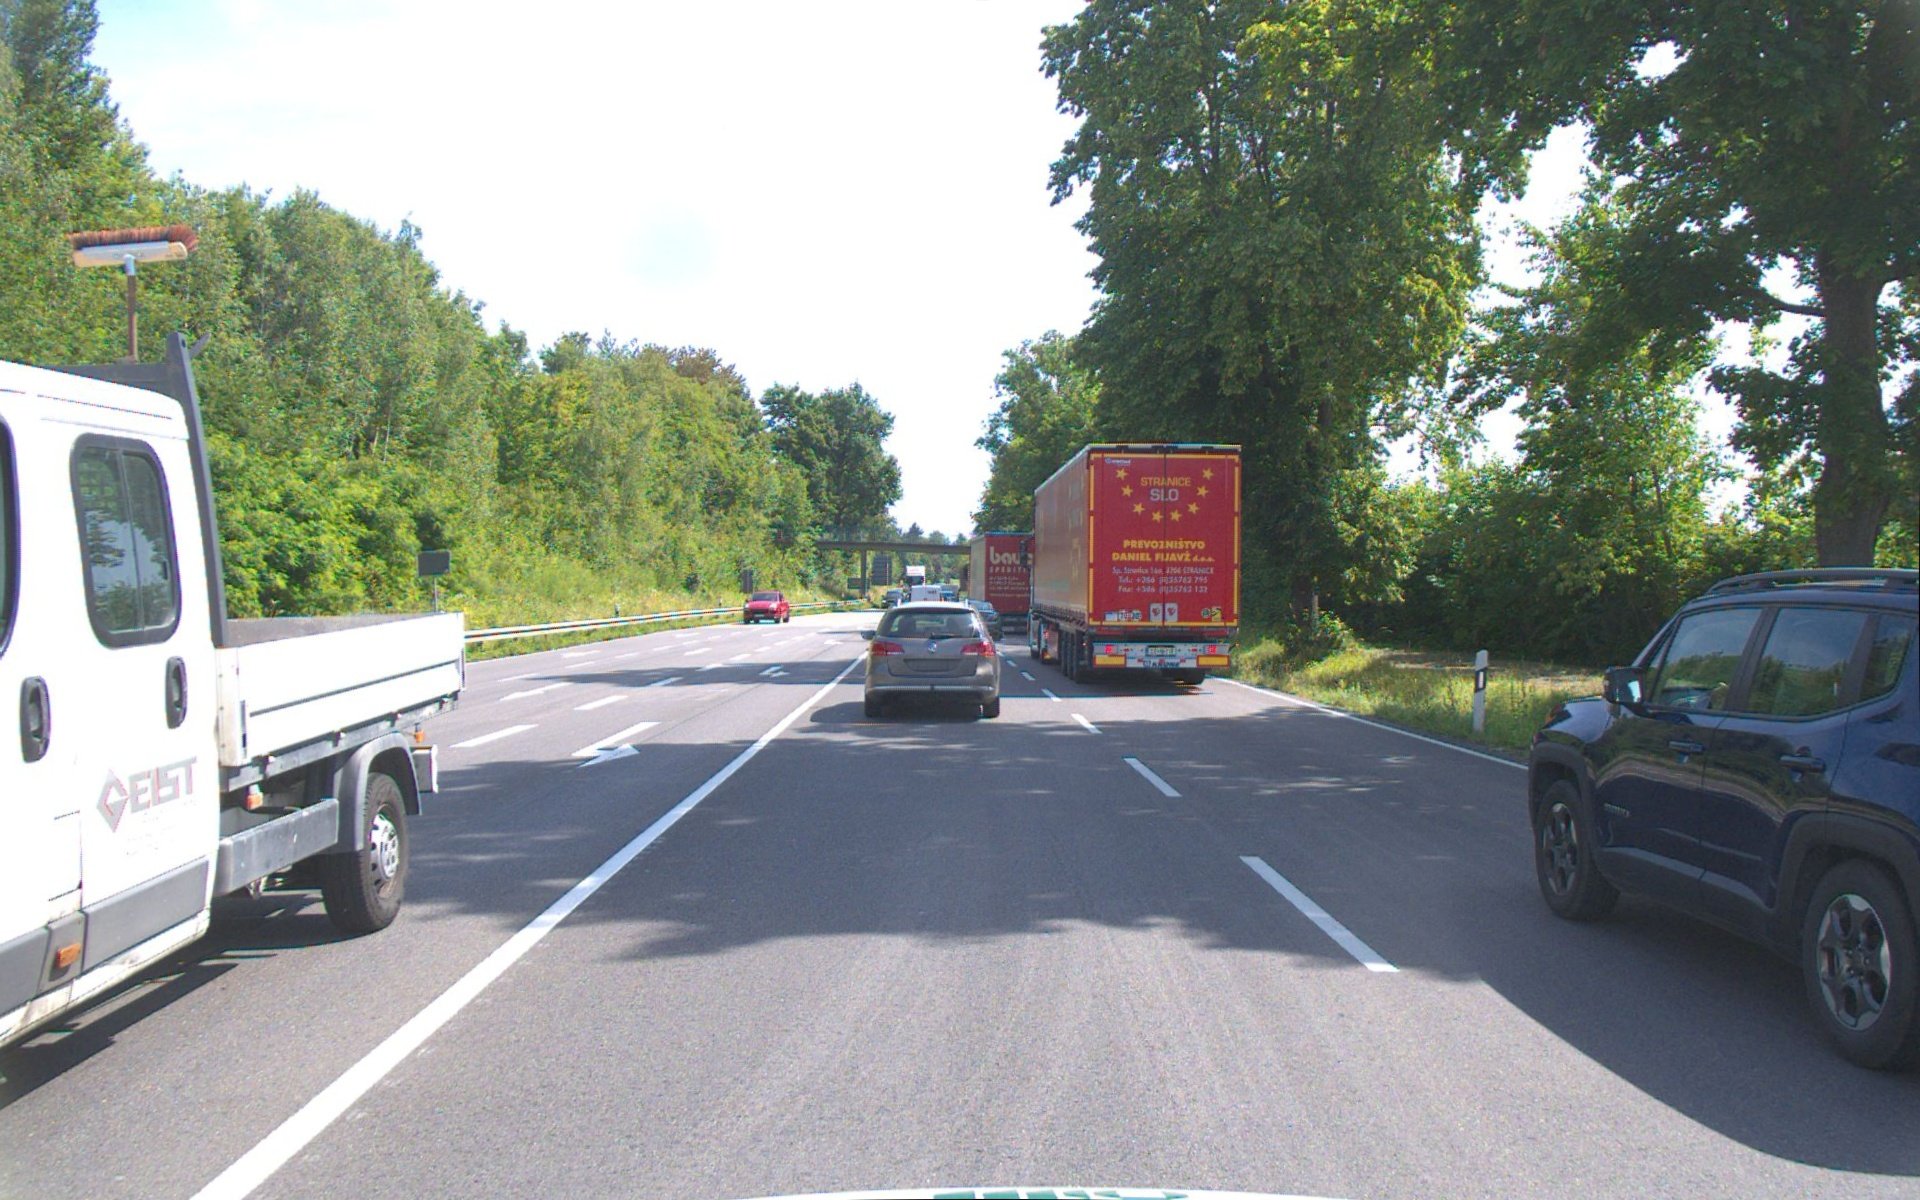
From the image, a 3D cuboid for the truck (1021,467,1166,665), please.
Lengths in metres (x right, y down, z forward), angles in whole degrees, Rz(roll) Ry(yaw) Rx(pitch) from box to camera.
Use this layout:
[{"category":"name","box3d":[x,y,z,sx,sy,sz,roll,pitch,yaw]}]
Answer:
[{"category":"truck","box3d":[3.084,-0.751,39.726,2.812,4.356,5.837,1,0,-2]}]

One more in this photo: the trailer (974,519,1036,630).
[{"category":"trailer","box3d":[1.856,-0.974,71.683,2.346,4.317,13.078,-1,0,1]}]

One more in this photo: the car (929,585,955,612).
[{"category":"car","box3d":[-1.462,-0.133,130.316,1.953,2.049,3.999,-1,0,-1]}]

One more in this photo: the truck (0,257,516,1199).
[{"category":"truck","box3d":[-3.463,0.334,5.626,2.181,2.307,6.498,-1,0,-1]}]

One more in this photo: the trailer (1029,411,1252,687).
[{"category":"trailer","box3d":[3.215,-0.804,33.487,2.782,4.442,13.163,1,0,-1]}]

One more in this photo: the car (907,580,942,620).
[{"category":"car","box3d":[-1.838,0.028,84.888,1.734,1.970,3.976,-1,0,-2]}]

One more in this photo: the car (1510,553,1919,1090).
[{"category":"car","box3d":[3.834,0.687,6.785,1.734,1.683,3.999,-1,0,-1]}]

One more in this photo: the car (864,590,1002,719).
[{"category":"car","box3d":[-0.376,0.679,22.157,1.657,1.539,3.999,-1,0,-2]}]

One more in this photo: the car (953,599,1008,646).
[{"category":"car","box3d":[0.683,0.759,57.767,1.734,1.539,3.999,-1,0,-2]}]

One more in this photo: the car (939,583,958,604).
[{"category":"car","box3d":[-1.192,-0.648,170.225,1.953,2.049,3.999,-1,0,-1]}]

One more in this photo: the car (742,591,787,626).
[{"category":"car","box3d":[-10.476,0.451,88.847,1.933,1.828,4.807,-1,0,-1]}]

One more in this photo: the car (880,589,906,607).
[{"category":"car","box3d":[-5.763,-0.159,142.185,1.922,1.439,4.001,-1,0,2]}]

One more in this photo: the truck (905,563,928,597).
[{"category":"truck","box3d":[-5.493,-2.475,207.201,2.718,4.000,9.462,-1,0,-2]}]

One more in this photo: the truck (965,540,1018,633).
[{"category":"truck","box3d":[1.494,-0.612,78.348,2.357,4.200,5.521,-1,0,1]}]
